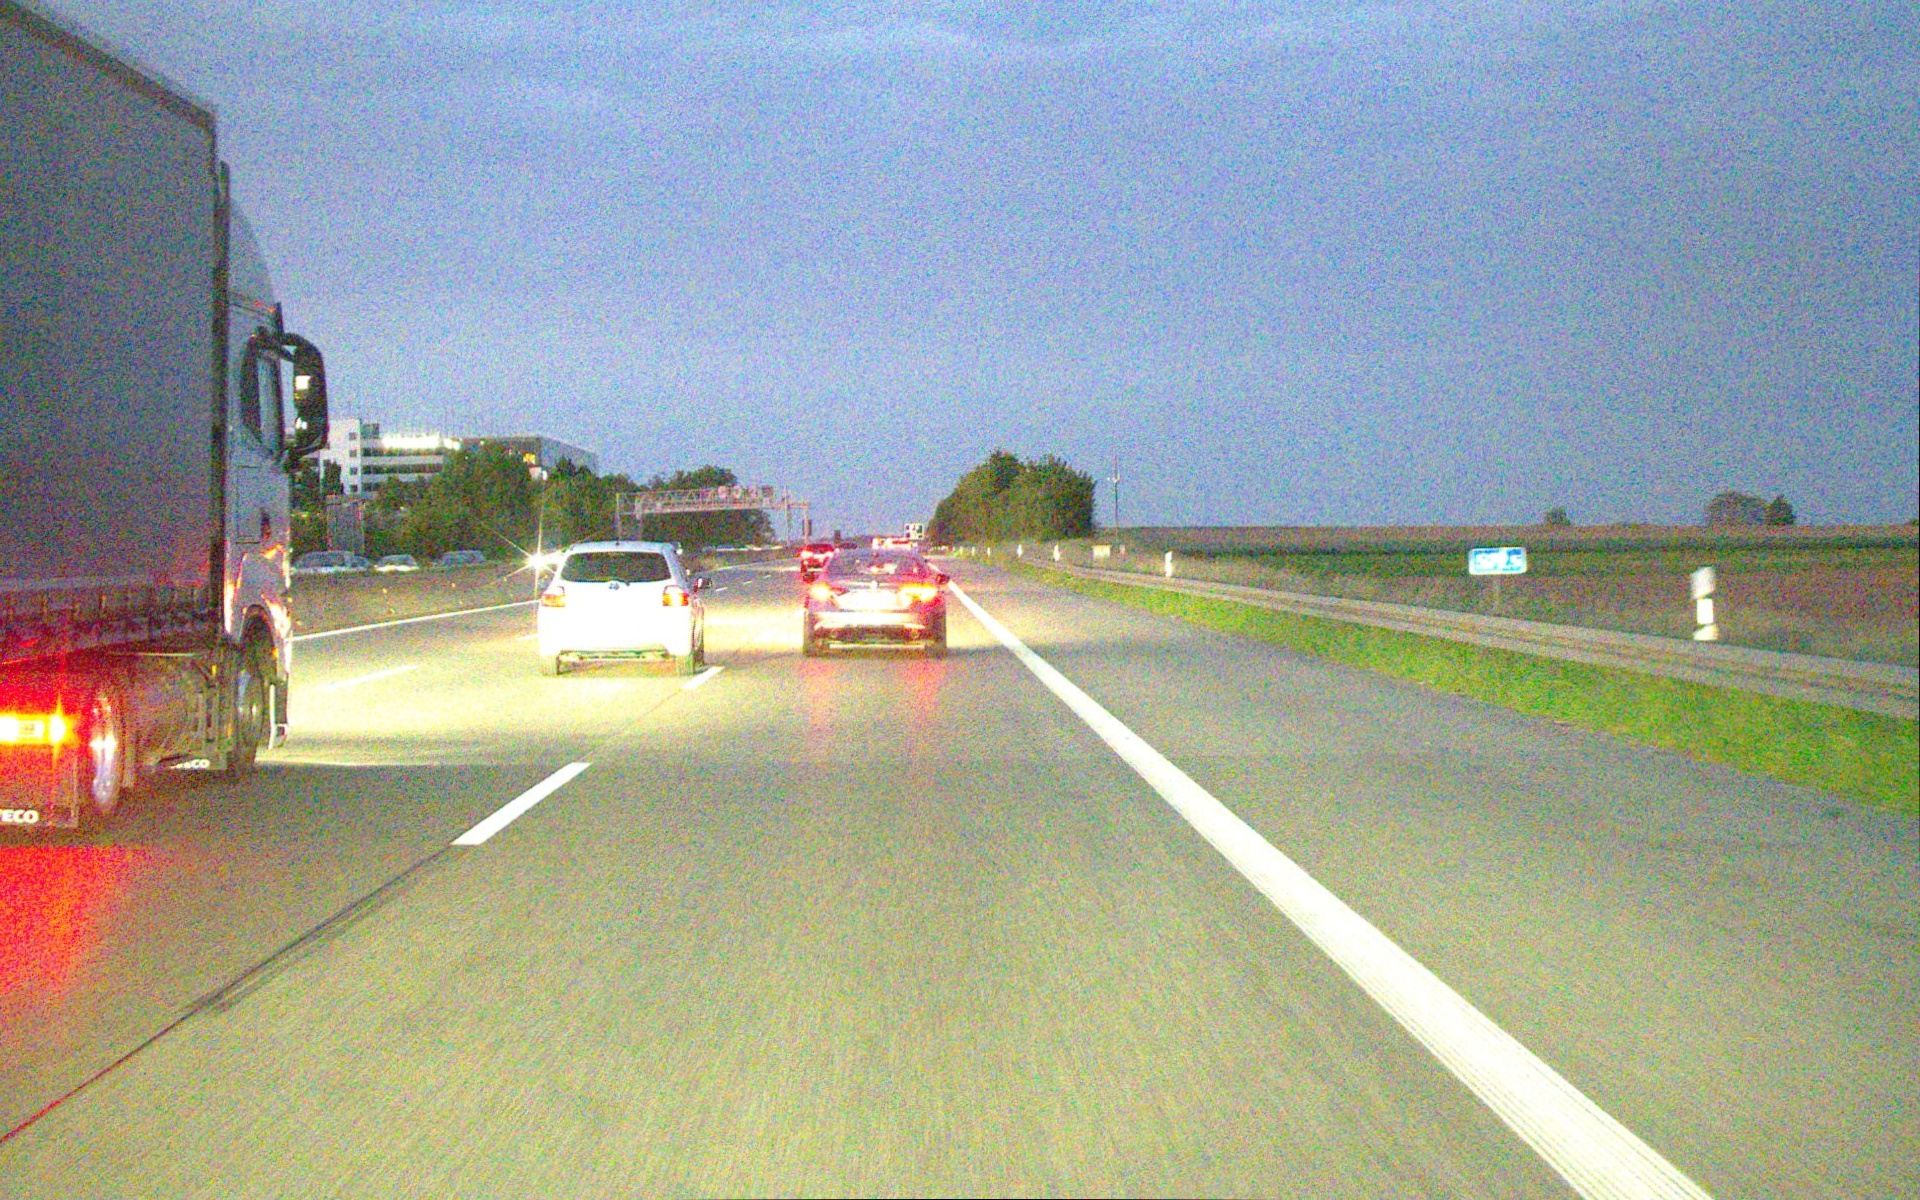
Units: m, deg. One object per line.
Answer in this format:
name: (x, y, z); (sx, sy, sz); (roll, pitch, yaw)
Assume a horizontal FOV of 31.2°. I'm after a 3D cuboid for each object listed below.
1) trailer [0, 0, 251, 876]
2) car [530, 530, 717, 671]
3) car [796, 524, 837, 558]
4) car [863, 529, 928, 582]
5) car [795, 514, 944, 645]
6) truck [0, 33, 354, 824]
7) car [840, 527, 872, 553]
trailer: (-5.600, -0.800, 13.047); (2.794, 4.071, 14.526); (0, 1, 0)
car: (-3.832, -0.015, 39.786); (1.744, 1.519, 4.414); (1, 1, 0)
car: (-6.745, -2.769, 161.862); (1.880, 1.547, 4.000); (1, 1, -2)
car: (-1.959, -1.328, 103.488); (1.880, 1.547, 4.000); (1, 1, -2)
car: (-1.192, -0.284, 45.882); (1.880, 1.637, 4.000); (1, 1, -1)
truck: (-5.615, -0.911, 20.824); (2.777, 4.078, 6.103); (0, 1, 0)
car: (-7.484, -4.320, 247.914); (2.199, 1.873, 4.000); (1, 1, -1)
